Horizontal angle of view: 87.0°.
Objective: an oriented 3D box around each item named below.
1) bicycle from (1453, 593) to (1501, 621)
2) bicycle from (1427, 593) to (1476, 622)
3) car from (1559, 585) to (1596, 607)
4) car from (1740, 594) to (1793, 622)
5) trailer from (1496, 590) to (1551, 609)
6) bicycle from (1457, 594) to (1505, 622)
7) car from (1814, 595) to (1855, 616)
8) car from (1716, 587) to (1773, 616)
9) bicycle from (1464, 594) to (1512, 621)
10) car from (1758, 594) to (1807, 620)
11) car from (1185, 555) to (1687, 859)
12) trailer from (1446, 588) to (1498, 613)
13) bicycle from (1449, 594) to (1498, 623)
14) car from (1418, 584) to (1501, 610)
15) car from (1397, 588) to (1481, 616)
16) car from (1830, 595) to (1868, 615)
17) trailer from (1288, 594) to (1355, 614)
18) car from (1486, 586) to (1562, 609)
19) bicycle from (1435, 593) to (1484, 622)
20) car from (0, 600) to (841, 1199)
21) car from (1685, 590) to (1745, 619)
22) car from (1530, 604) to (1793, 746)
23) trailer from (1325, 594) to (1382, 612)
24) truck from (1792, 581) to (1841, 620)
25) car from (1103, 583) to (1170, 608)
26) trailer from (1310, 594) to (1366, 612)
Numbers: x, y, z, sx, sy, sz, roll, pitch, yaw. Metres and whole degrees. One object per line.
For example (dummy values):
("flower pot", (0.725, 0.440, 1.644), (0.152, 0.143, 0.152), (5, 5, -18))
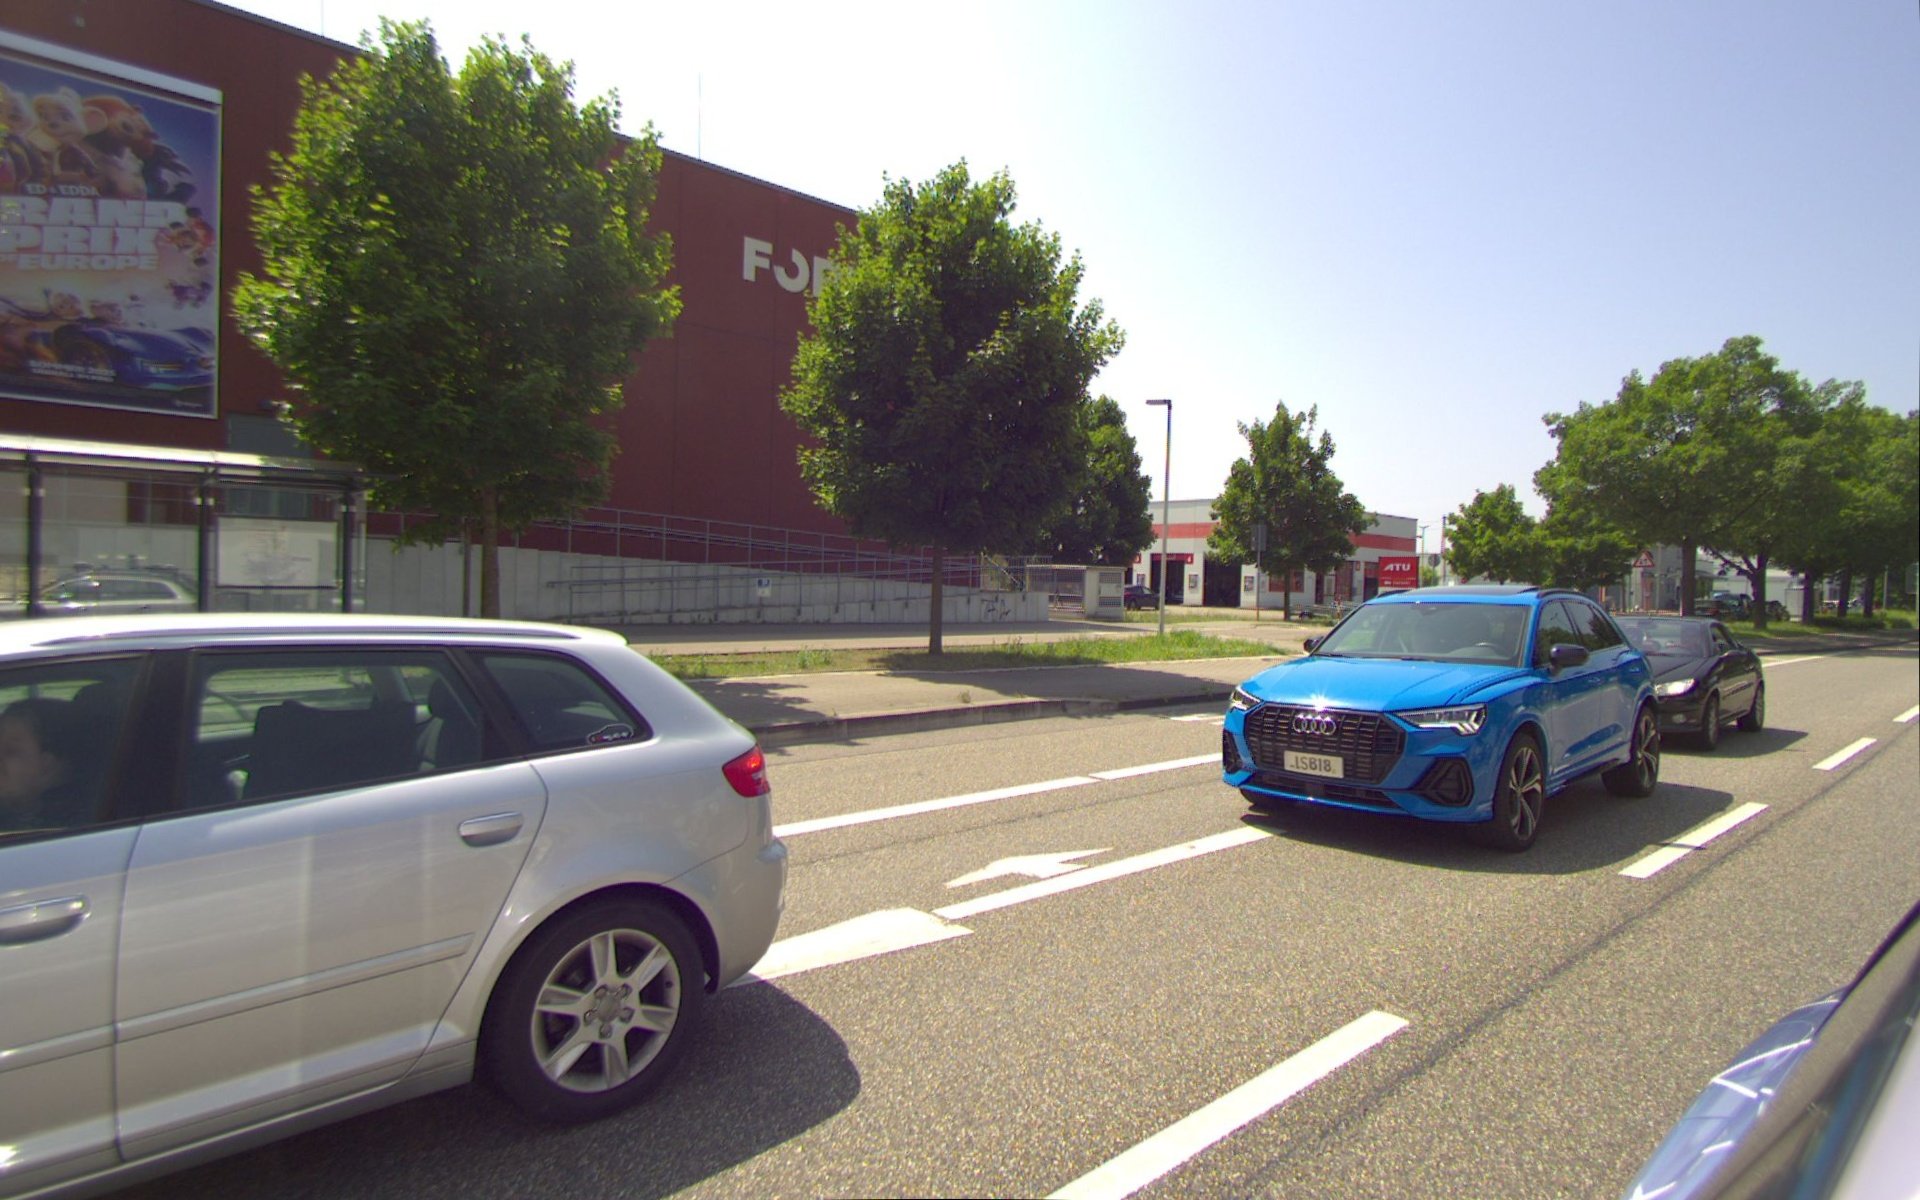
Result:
("bicycle", (22.264, 0.309, 43.602), (1.779, 1.138, 0.506), (3, 1, 43))
("bicycle", (20.619, 0.324, 42.483), (1.779, 1.138, 0.506), (3, 1, 43))
("car", (48.297, -0.313, 79.103), (1.753, 1.616, 3.940), (2, 1, 42))
("car", (47.269, 0.458, 59.321), (3.930, 1.539, 1.719), (0, 1, -41))
("trailer", (35.144, -0.016, 63.143), (1.552, 1.065, 2.638), (1, 2, -43))
("bicycle", (22.731, 0.329, 44.142), (1.779, 1.138, 0.506), (3, 1, 43))
("car", (64.677, 0.403, 74.854), (3.930, 1.485, 1.719), (0, 1, -41))
("car", (43.431, 0.084, 56.000), (3.930, 1.485, 1.719), (0, 1, -41))
("bicycle", (23.317, 0.321, 44.713), (1.779, 1.138, 0.506), (3, 1, 43))
("car", (51.645, 0.439, 63.539), (3.930, 1.532, 1.719), (0, 1, -41))
("car", (3.730, 0.554, 7.528), (4.324, 1.616, 1.840), (0, 1, -42))
("trailer", (33.000, 0.022, 65.272), (1.391, 1.546, 2.638), (1, 1, -43))
("bicycle", (21.855, 0.348, 43.111), (1.779, 1.138, 0.506), (3, 1, 43))
("car", (29.109, -0.192, 59.073), (1.718, 1.419, 3.991), (1, 2, -44))
("car", (27.317, 0.103, 57.789), (1.718, 1.419, 3.992), (1, 2, -43))
("car", (69.515, 0.419, 79.145), (3.930, 1.485, 1.719), (0, 1, -41))
("trailer", (16.346, 0.174, 45.814), (1.423, 0.771, 2.467), (0, 2, -39))
("car", (36.352, -0.165, 65.291), (1.662, 1.317, 3.991), (1, 2, -44))
("bicycle", (21.133, 0.312, 42.829), (1.779, 1.138, 0.506), (3, 1, 43))
("car", (-2.445, 0.692, 2.646), (4.022, 1.379, 1.714), (0, 0, -43))
("car", (38.808, 0.216, 51.986), (3.930, 1.388, 1.641), (0, 1, -41))
("car", (8.165, 0.732, 11.651), (3.931, 1.361, 1.640), (0, -1, -42))
("trailer", (18.786, 0.132, 48.304), (1.369, 0.771, 2.137), (0, 2, -39))
("truck", (60.264, 0.022, 71.204), (3.928, 2.599, 1.904), (1, 1, -40))
("car", (10.428, -0.285, 59.646), (4.074, 1.390, 1.716), (0, 2, -42))
("trailer", (17.659, 0.152, 47.324), (1.244, 0.771, 2.137), (1, 2, -39))
